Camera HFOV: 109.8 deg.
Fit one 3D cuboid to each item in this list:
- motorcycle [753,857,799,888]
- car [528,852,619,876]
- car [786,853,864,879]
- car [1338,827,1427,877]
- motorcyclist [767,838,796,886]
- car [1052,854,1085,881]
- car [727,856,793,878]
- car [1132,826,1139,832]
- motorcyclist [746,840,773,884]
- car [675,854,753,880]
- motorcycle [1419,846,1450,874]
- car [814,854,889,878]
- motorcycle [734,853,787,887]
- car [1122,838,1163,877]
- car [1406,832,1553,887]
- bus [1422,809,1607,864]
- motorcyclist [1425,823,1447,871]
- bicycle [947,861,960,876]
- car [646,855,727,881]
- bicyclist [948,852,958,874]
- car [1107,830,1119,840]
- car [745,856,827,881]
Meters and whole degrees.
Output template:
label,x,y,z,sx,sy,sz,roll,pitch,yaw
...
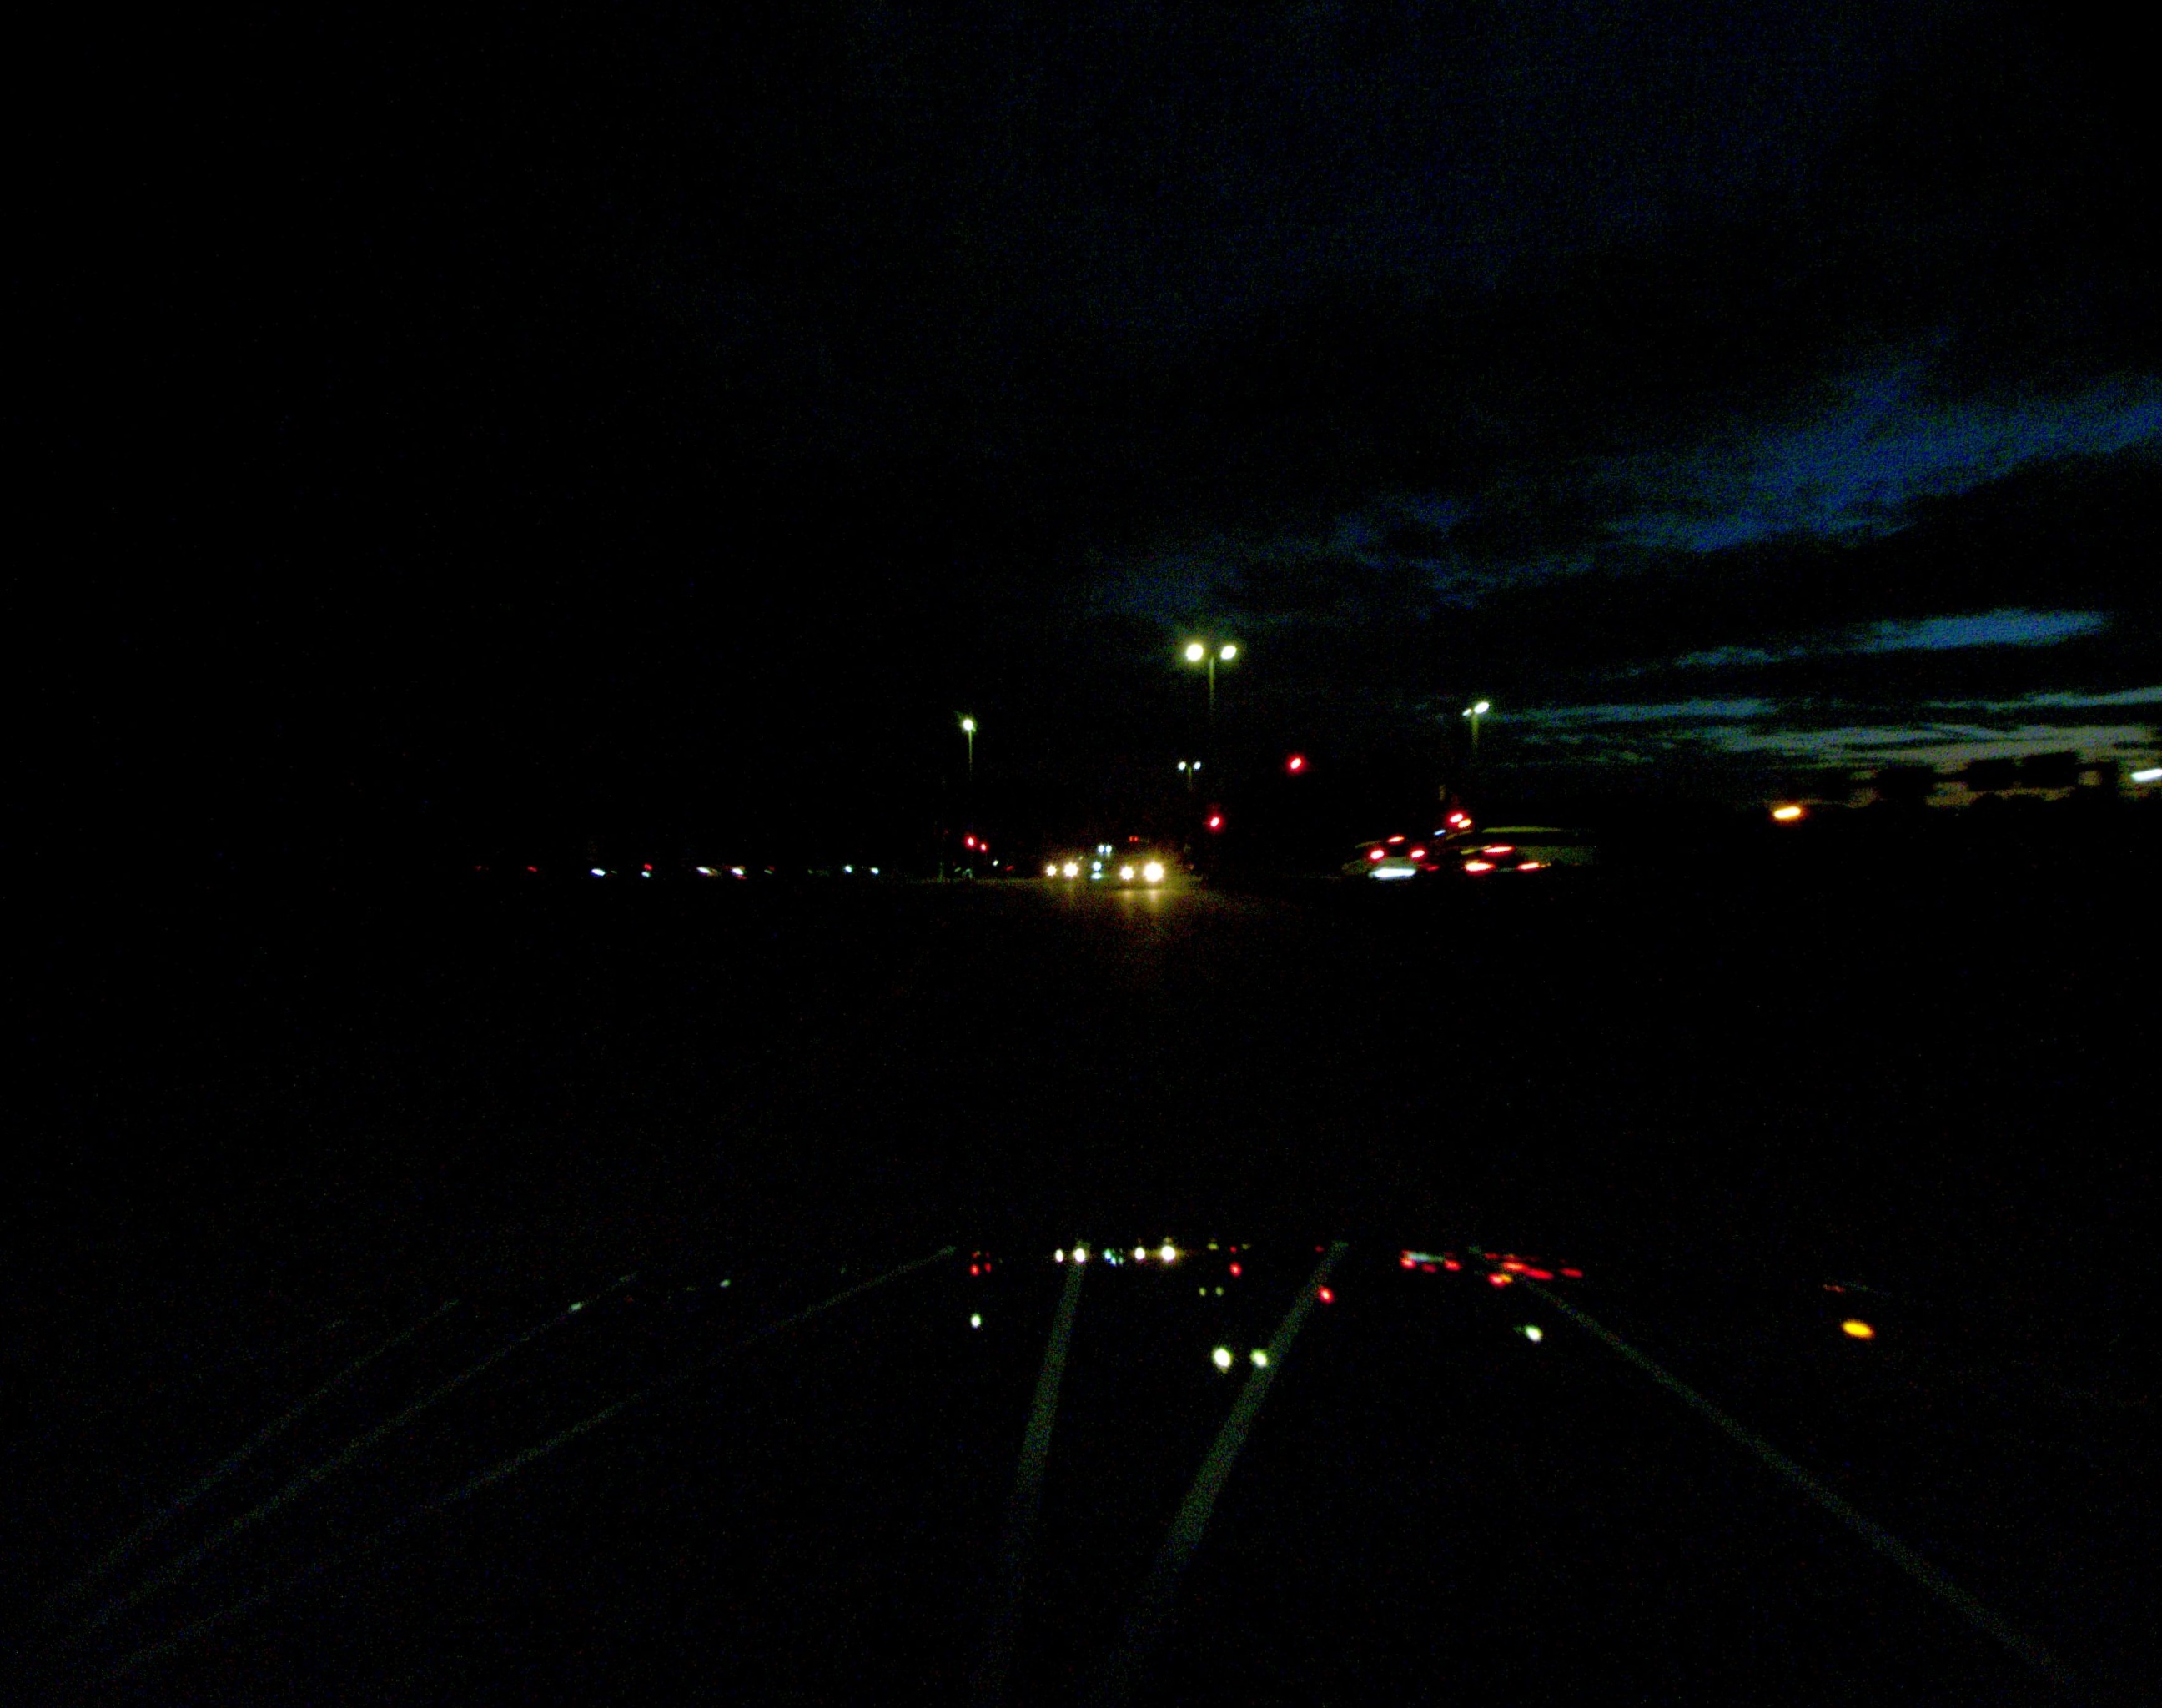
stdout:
label,x,y,z,sx,sy,sz,roll,pitch,yaw
motorcycle,-12.257,0.739,30.499,1.579,1.028,0.721,-6,6,-26
car,-30.778,0.575,46.145,4.392,1.382,1.838,0,1,4
car,-16.576,0.783,49.295,4.415,1.672,1.915,0,0,5
car,11.759,-0.065,30.015,1.847,1.803,4.775,-1,0,3
motorcyclist,-12.052,0.319,30.592,0.871,1.800,0.914,-6,6,-25
car,-0.694,0.755,43.648,1.670,1.472,3.777,-1,0,2
car,-22.497,0.904,53.298,3.905,1.472,1.780,0,0,5
car,15.019,-6.966,209.442,1.739,1.564,4.058,-2,2,-1
motorcyclist,-13.257,0.320,31.314,0.791,1.750,0.682,-6,6,-31
car,-24.035,0.837,49.831,4.357,1.617,1.752,0,0,5
motorcycle,15.140,0.235,32.566,0.672,1.157,1.809,-1,0,8
car,-15.956,0.838,52.947,4.580,1.623,1.858,0,0,4
motorcycle,-13.216,0.636,31.387,1.824,1.175,0.847,-6,6,-31
car,2.877,0.125,34.866,1.669,1.643,4.412,-1,1,7
car,11.405,0.128,22.186,1.875,1.390,4.838,-1,1,2
bus,32.468,-1.265,57.216,12.264,3.767,2.616,-1,0,2
motorcyclist,15.096,-0.282,32.332,0.635,2.002,0.768,-1,1,8
bicycle,-9.755,1.082,58.030,0.695,1.095,2.068,-1,0,-1
car,-23.998,0.824,46.278,3.996,1.516,1.838,0,1,4
bicyclist,-9.794,0.697,58.030,0.603,1.641,1.000,-1,1,-1
car,6.022,-3.590,143.902,1.696,1.586,3.929,-1,-1,11
car,-17.800,0.858,45.922,4.285,1.437,1.787,0,0,6
